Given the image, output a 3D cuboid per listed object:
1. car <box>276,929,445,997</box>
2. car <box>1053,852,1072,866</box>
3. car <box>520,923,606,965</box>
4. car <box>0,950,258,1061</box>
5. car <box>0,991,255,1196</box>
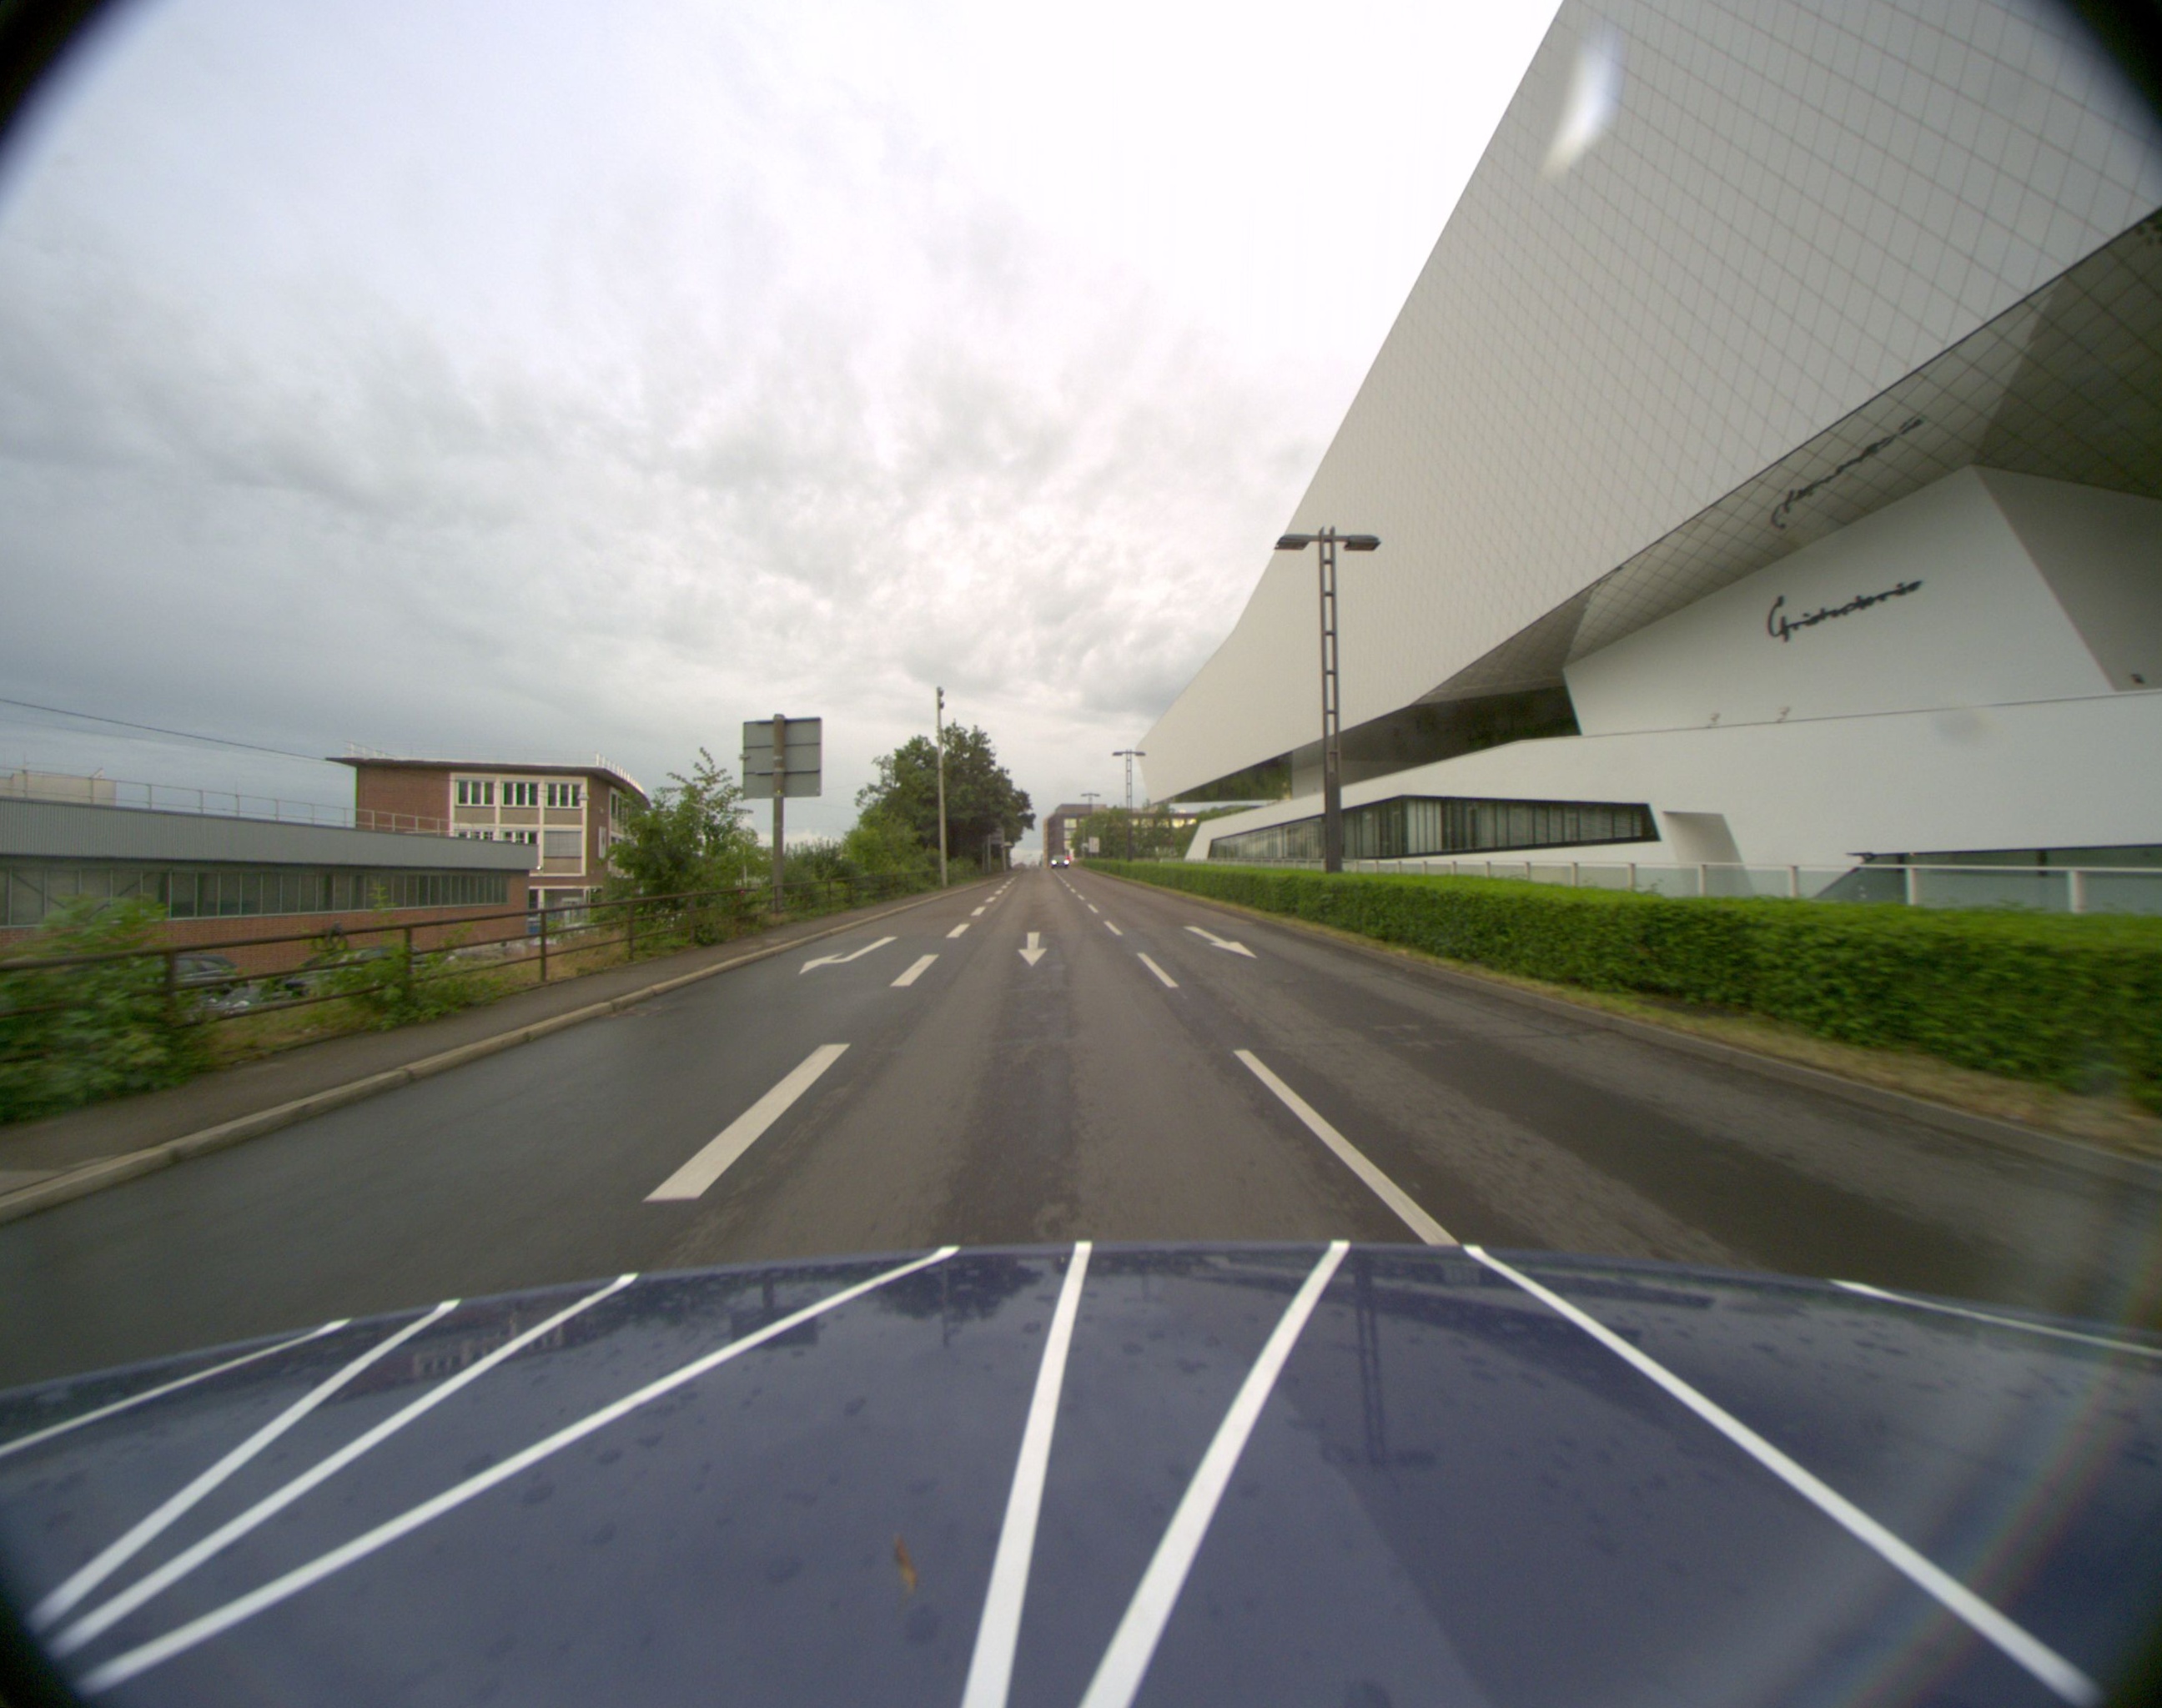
[{"bbox_3d":[-22.230,3.308,23.670,1.703,1.546,3.856,-1,0,-3],"label":"car"},{"bbox_3d":[-2.186,0.585,88.876,1.842,1.574,4.287,-1,0,-5],"label":"car"},{"bbox_3d":[-24.582,4.235,36.197,1.703,1.546,3.855,-1,0,-6],"label":"car"},{"bbox_3d":[-21.549,3.245,16.971,1.637,1.621,4.428,-1,0,-3],"label":"car"},{"bbox_3d":[-11.214,2.510,7.641,1.703,1.546,3.856,-1,0,-3],"label":"car"}]
